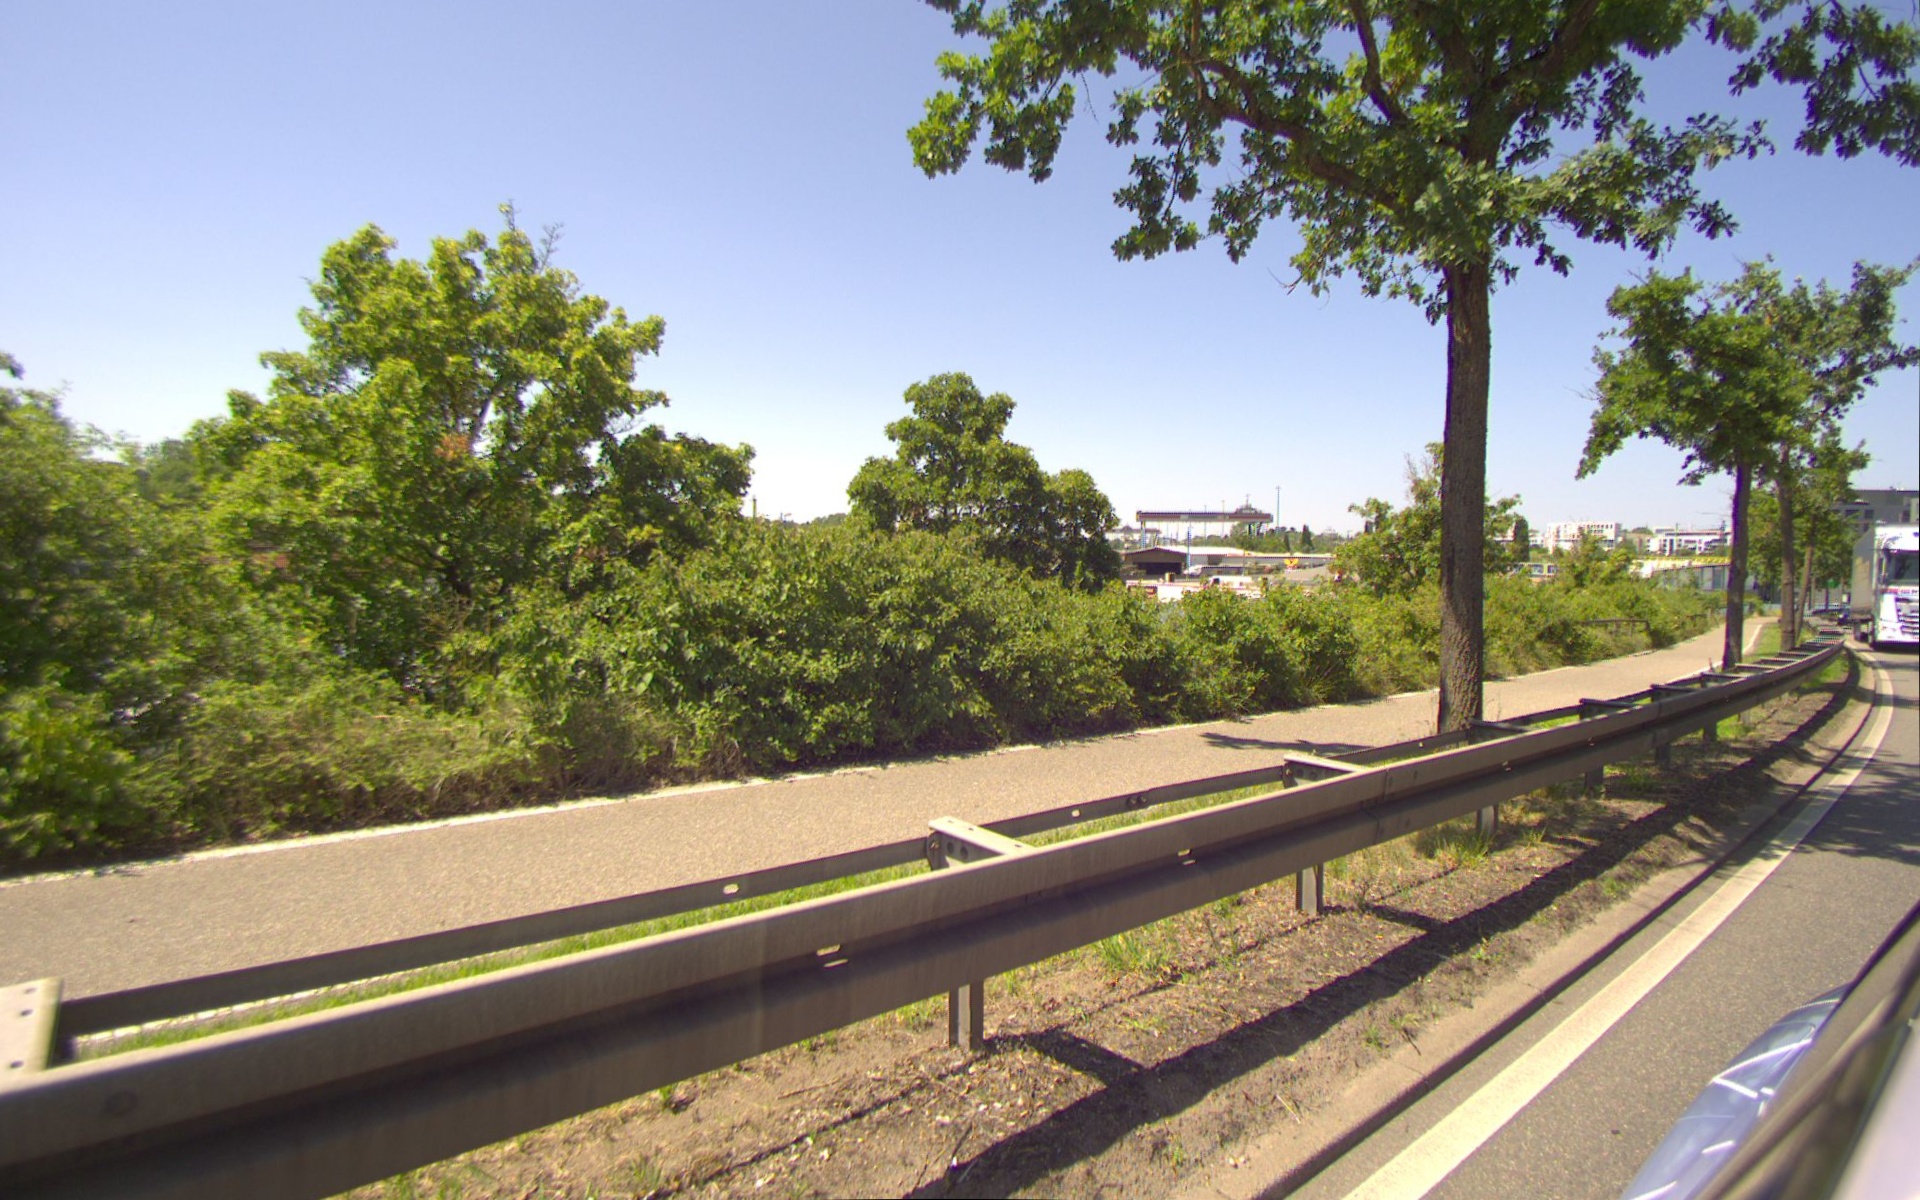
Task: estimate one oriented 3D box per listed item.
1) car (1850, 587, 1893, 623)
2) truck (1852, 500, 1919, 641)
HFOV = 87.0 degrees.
[{"bbox_3d":[53.370,0.269,59.304,1.773,2.039,3.941,0,0,40],"label":"car"},{"bbox_3d":[34.578,-0.933,36.344,3.057,4.223,16.672,0,0,39],"label":"truck"}]
